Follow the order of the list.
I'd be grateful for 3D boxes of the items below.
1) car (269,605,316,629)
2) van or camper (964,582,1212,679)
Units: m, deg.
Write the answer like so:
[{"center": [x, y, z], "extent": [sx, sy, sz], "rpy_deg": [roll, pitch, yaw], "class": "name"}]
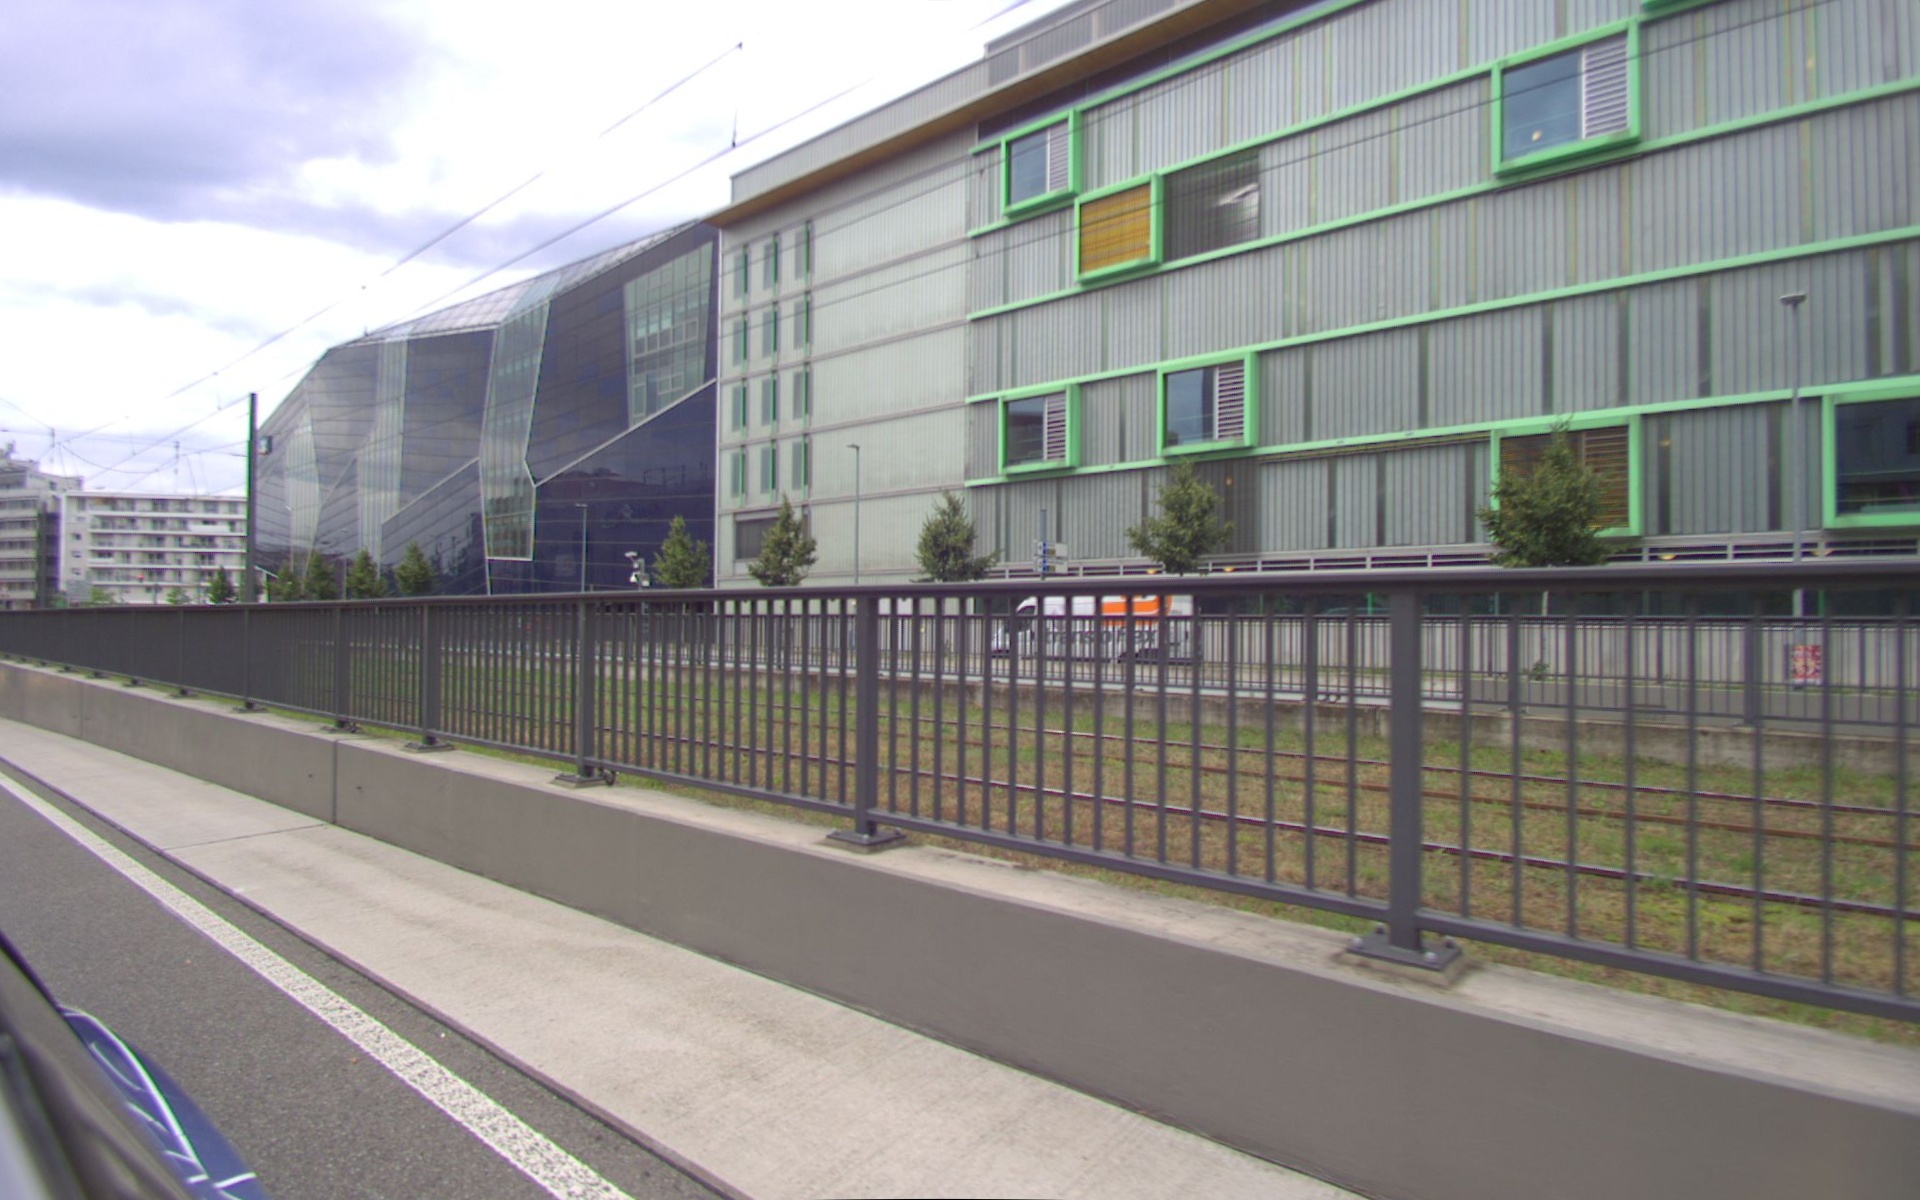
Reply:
[{"center": [-50.827, 1.316, 77.042], "extent": [4.766, 1.605, 1.972], "rpy_deg": [-4, -3, 43], "class": "car"}, {"center": [3.250, 0.782, 27.052], "extent": [6.504, 2.304, 2.150], "rpy_deg": [-2, -1, 42], "class": "van or camper"}]
